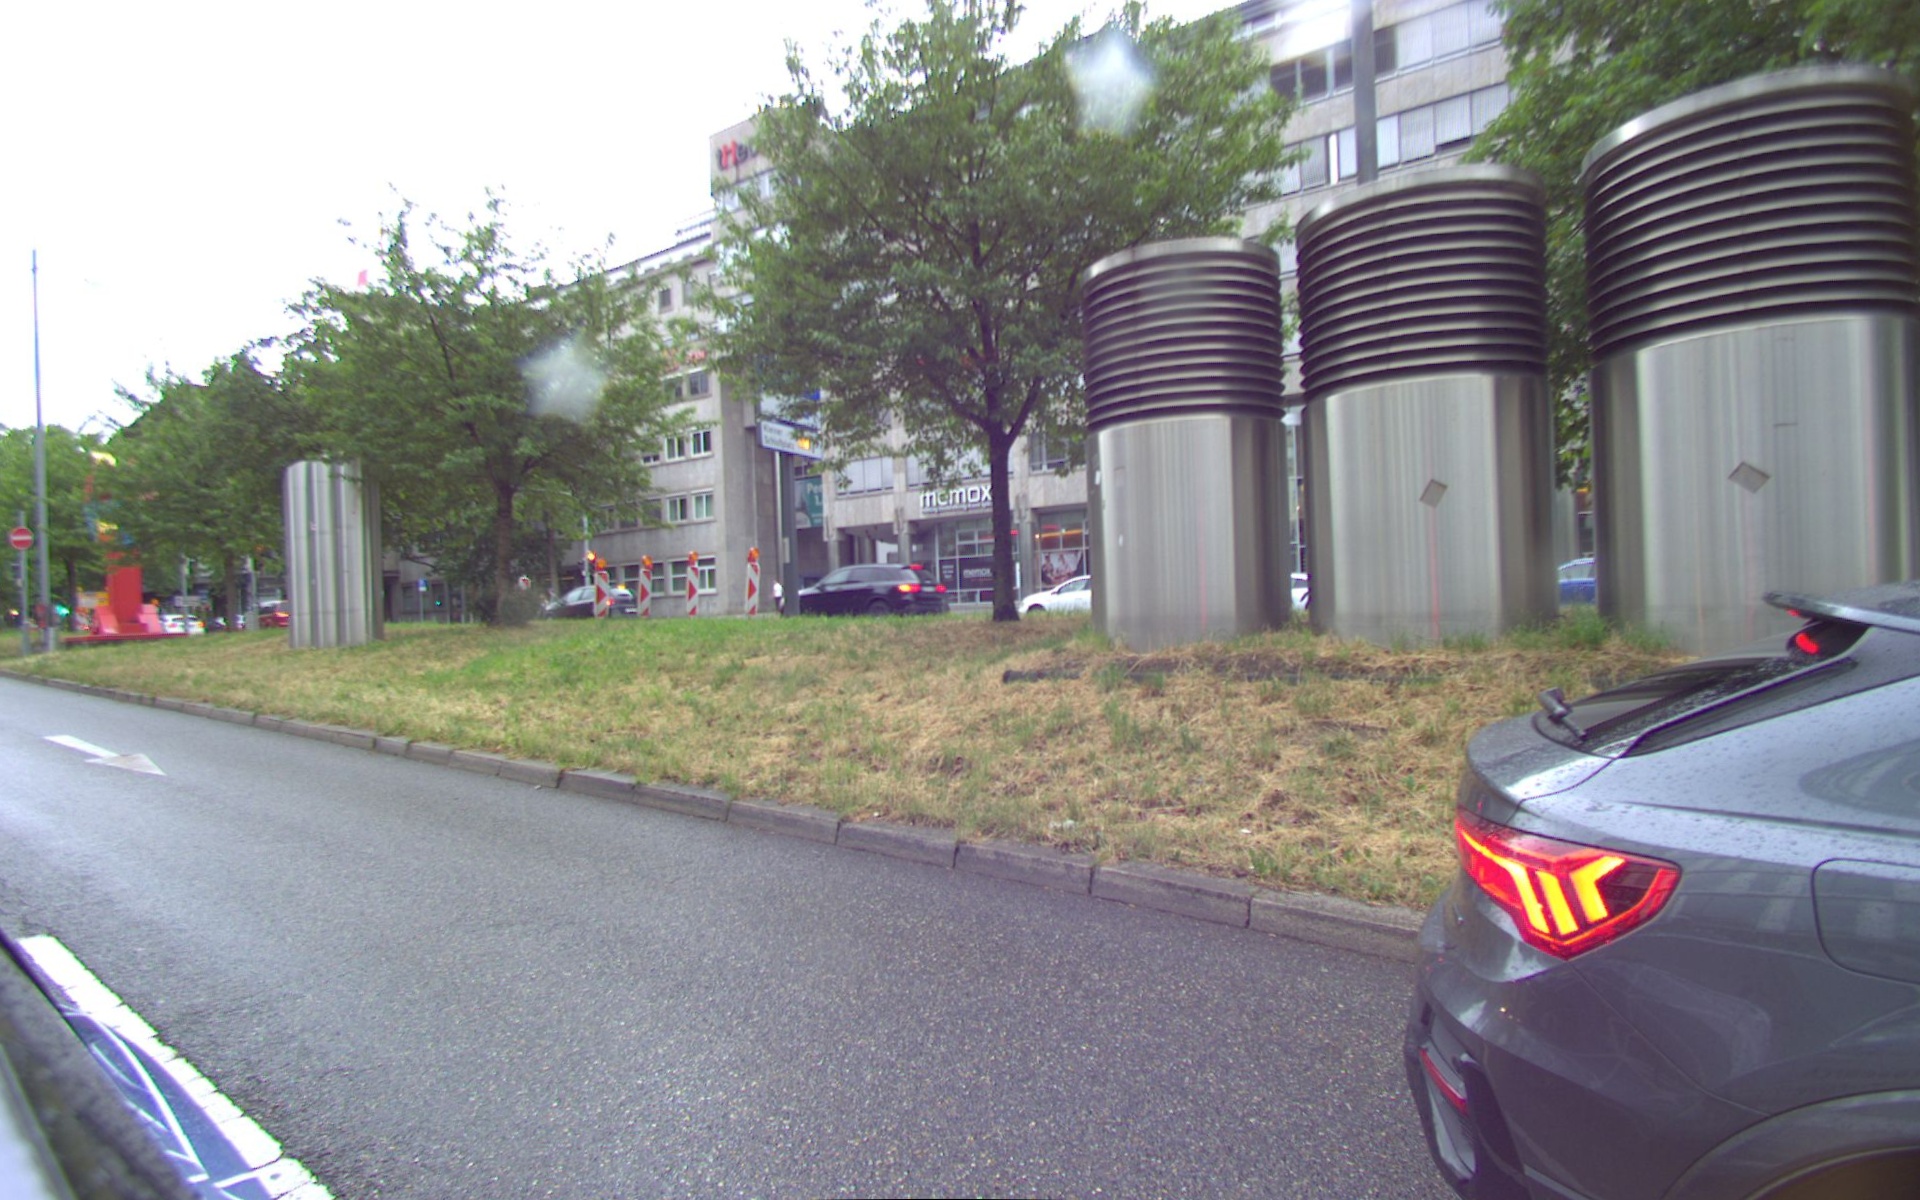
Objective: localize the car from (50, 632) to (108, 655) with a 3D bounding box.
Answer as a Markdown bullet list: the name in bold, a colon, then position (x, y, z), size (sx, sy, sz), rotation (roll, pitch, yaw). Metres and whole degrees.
- **car**: position (-59.399, 2.924, 68.222), size (3.987, 1.486, 1.853), rotation (-2, 0, 33)

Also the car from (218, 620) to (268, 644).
- **car**: position (-47.000, 2.094, 66.325), size (3.687, 1.514, 1.670), rotation (-2, -1, 38)

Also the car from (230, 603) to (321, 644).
- **car**: position (-30.966, 1.083, 45.739), size (4.568, 1.740, 1.711), rotation (-2, 0, 33)

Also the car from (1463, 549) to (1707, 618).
- **car**: position (13.844, -0.330, 22.614), size (4.465, 1.335, 1.876), rotation (-2, 0, 34)

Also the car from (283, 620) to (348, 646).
- **car**: position (-38.574, 1.963, 60.548), size (4.559, 1.440, 1.844), rotation (-2, -1, 38)

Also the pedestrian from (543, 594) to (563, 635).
- **pedestrian**: position (-18.135, 0.651, 45.071), size (0.721, 1.801, 0.522), rotation (-2, 0, 42)

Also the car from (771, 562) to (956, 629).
- **car**: position (-2.434, -0.093, 25.167), size (4.368, 1.497, 1.791), rotation (-2, 2, 32)

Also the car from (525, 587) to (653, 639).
- **car**: position (-11.779, 0.416, 32.040), size (3.990, 1.497, 1.790), rotation (-1, 2, 35)

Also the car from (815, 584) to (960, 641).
- **car**: position (-2.467, 0.449, 33.632), size (4.785, 1.739, 1.844), rotation (-2, -1, 38)

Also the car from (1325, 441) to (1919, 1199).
- **car**: position (2.814, 0.561, 0.964), size (4.247, 1.628, 1.830), rotation (-2, 0, 39)

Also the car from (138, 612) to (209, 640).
- **car**: position (-43.672, 1.447, 56.202), size (4.180, 1.486, 1.805), rotation (-2, 0, 33)

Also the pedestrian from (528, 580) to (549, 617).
- **pedestrian**: position (-18.996, -0.059, 45.628), size (0.619, 1.641, 0.599), rotation (-2, 0, 41)

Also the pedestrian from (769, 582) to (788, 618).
- **pedestrian**: position (-9.161, -0.003, 51.172), size (0.528, 1.801, 0.712), rotation (-2, 0, 38)

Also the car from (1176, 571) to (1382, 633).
- **car**: position (8.057, 0.092, 25.788), size (4.677, 1.412, 1.759), rotation (-2, -1, 38)

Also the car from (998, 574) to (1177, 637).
- **car**: position (3.593, 0.205, 29.099), size (4.905, 1.634, 1.759), rotation (-2, -1, 38)

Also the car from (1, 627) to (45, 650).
- **car**: position (-74.337, 3.065, 80.265), size (3.994, 1.713, 1.927), rotation (-2, 0, 38)
